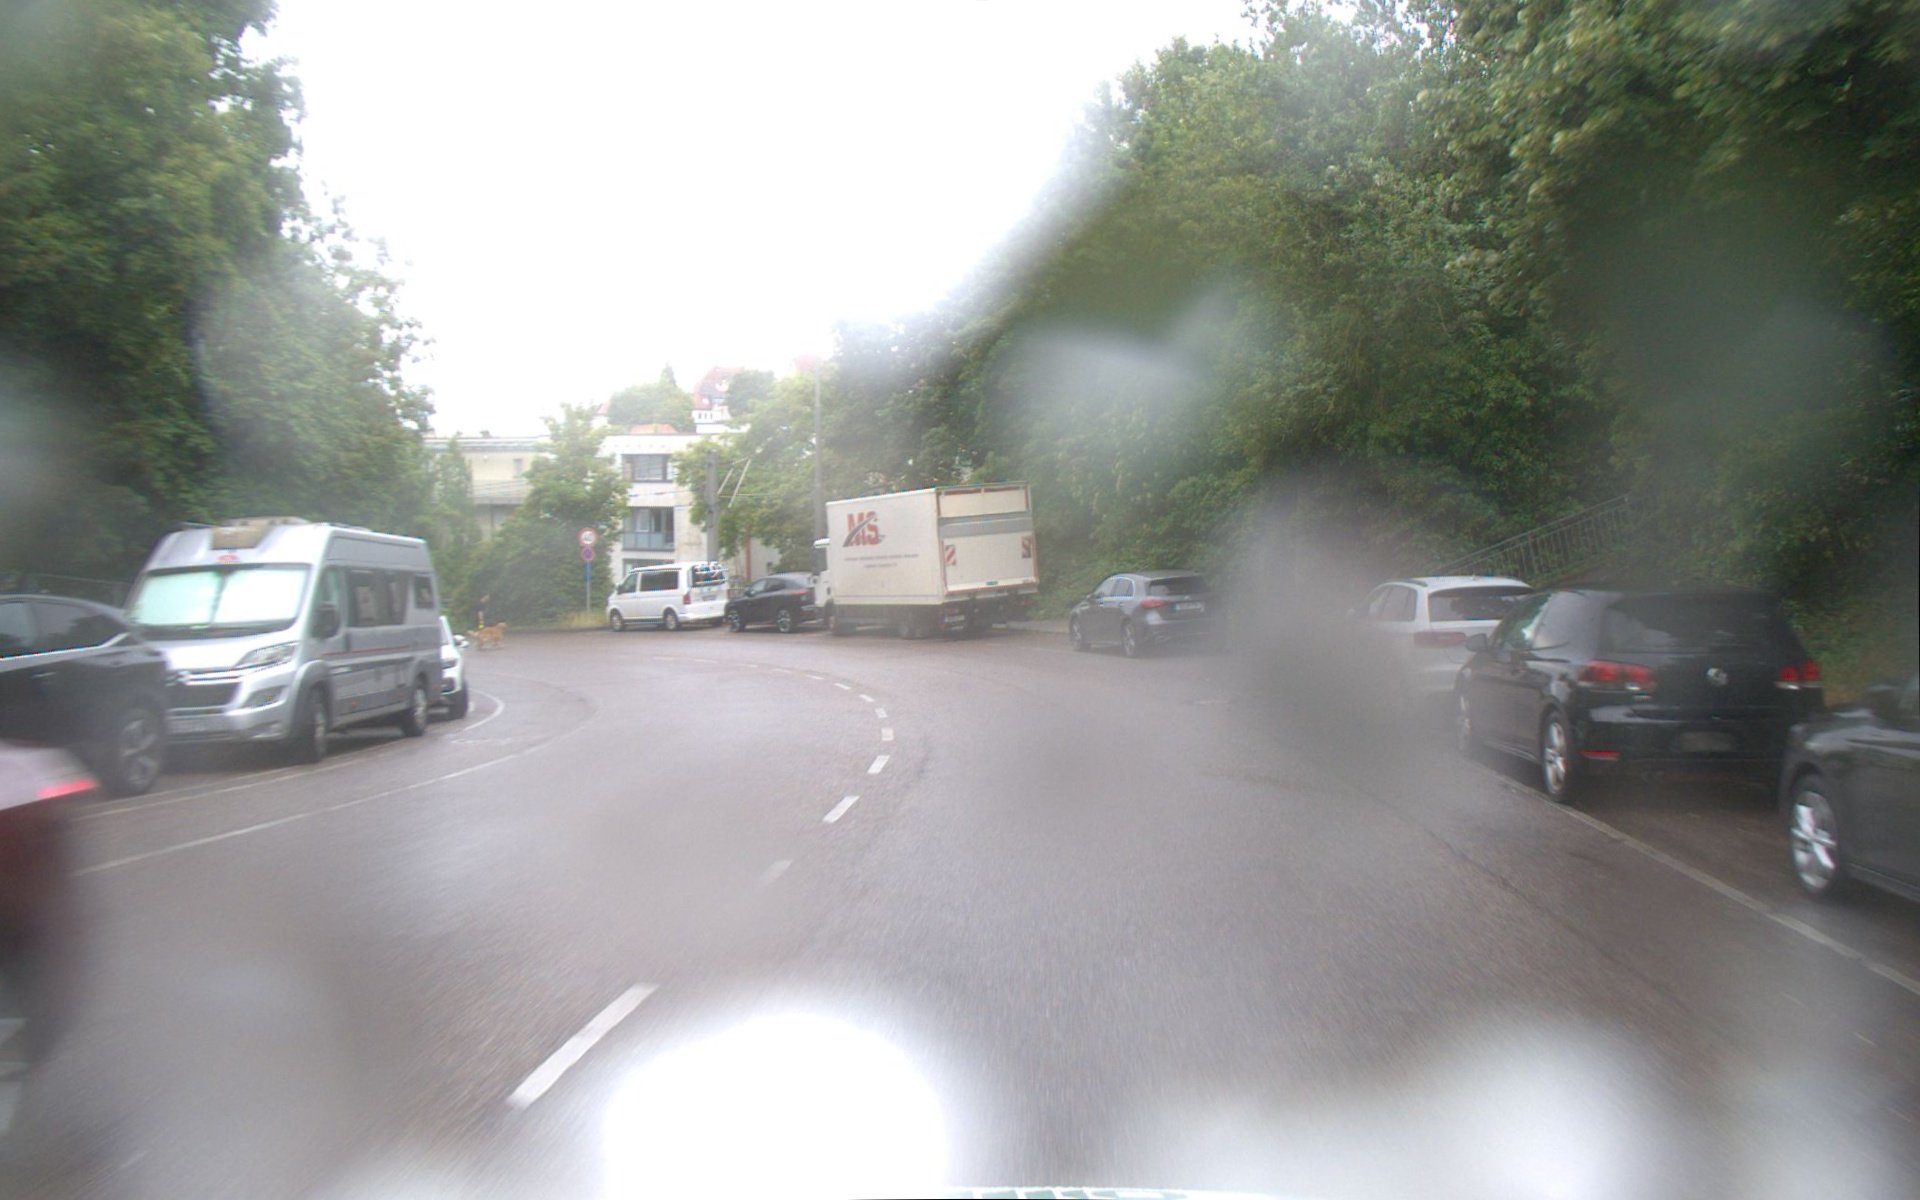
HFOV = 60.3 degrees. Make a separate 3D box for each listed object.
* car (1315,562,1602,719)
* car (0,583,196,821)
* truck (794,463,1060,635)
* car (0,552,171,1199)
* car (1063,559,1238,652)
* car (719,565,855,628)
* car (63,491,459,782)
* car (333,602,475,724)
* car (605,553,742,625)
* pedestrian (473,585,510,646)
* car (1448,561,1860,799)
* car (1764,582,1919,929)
[{"bbox_3d":[5.163,0.334,17.711,1.720,1.424,4.095,-1,1,-2],"label":"car"},{"bbox_3d":[-7.642,0.727,11.857,1.951,1.647,4.400,-1,1,5],"label":"car"},{"bbox_3d":[-1.048,-1.149,41.005,2.974,3.634,8.260,-6,2,-27],"label":"truck"},{"bbox_3d":[-3.219,0.663,2.406,1.828,1.543,4.485,-2,-1,2],"label":"car"},{"bbox_3d":[3.391,0.052,30.198,1.693,1.469,4.107,-4,2,-16],"label":"car"},{"bbox_3d":[-4.984,-0.078,47.140,1.709,1.582,4.215,-7,4,-40],"label":"car"},{"bbox_3d":[-7.499,0.302,18.661,2.033,2.593,6.341,-4,1,-4],"label":"car"},{"bbox_3d":[-8.568,0.946,25.774,1.775,1.610,4.007,-4,0,-16],"label":"car"},{"bbox_3d":[-9.038,-0.321,51.916,4.612,2.048,1.870,-2,1,45],"label":"car"},{"bbox_3d":[-14.129,0.464,49.905,0.907,1.689,0.802,-6,4,-14],"label":"pedestrian"},{"bbox_3d":[4.952,0.462,12.397,1.625,1.449,3.971,-1,2,4],"label":"car"},{"bbox_3d":[4.736,0.677,6.510,1.556,1.413,3.825,1,1,5],"label":"car"}]
